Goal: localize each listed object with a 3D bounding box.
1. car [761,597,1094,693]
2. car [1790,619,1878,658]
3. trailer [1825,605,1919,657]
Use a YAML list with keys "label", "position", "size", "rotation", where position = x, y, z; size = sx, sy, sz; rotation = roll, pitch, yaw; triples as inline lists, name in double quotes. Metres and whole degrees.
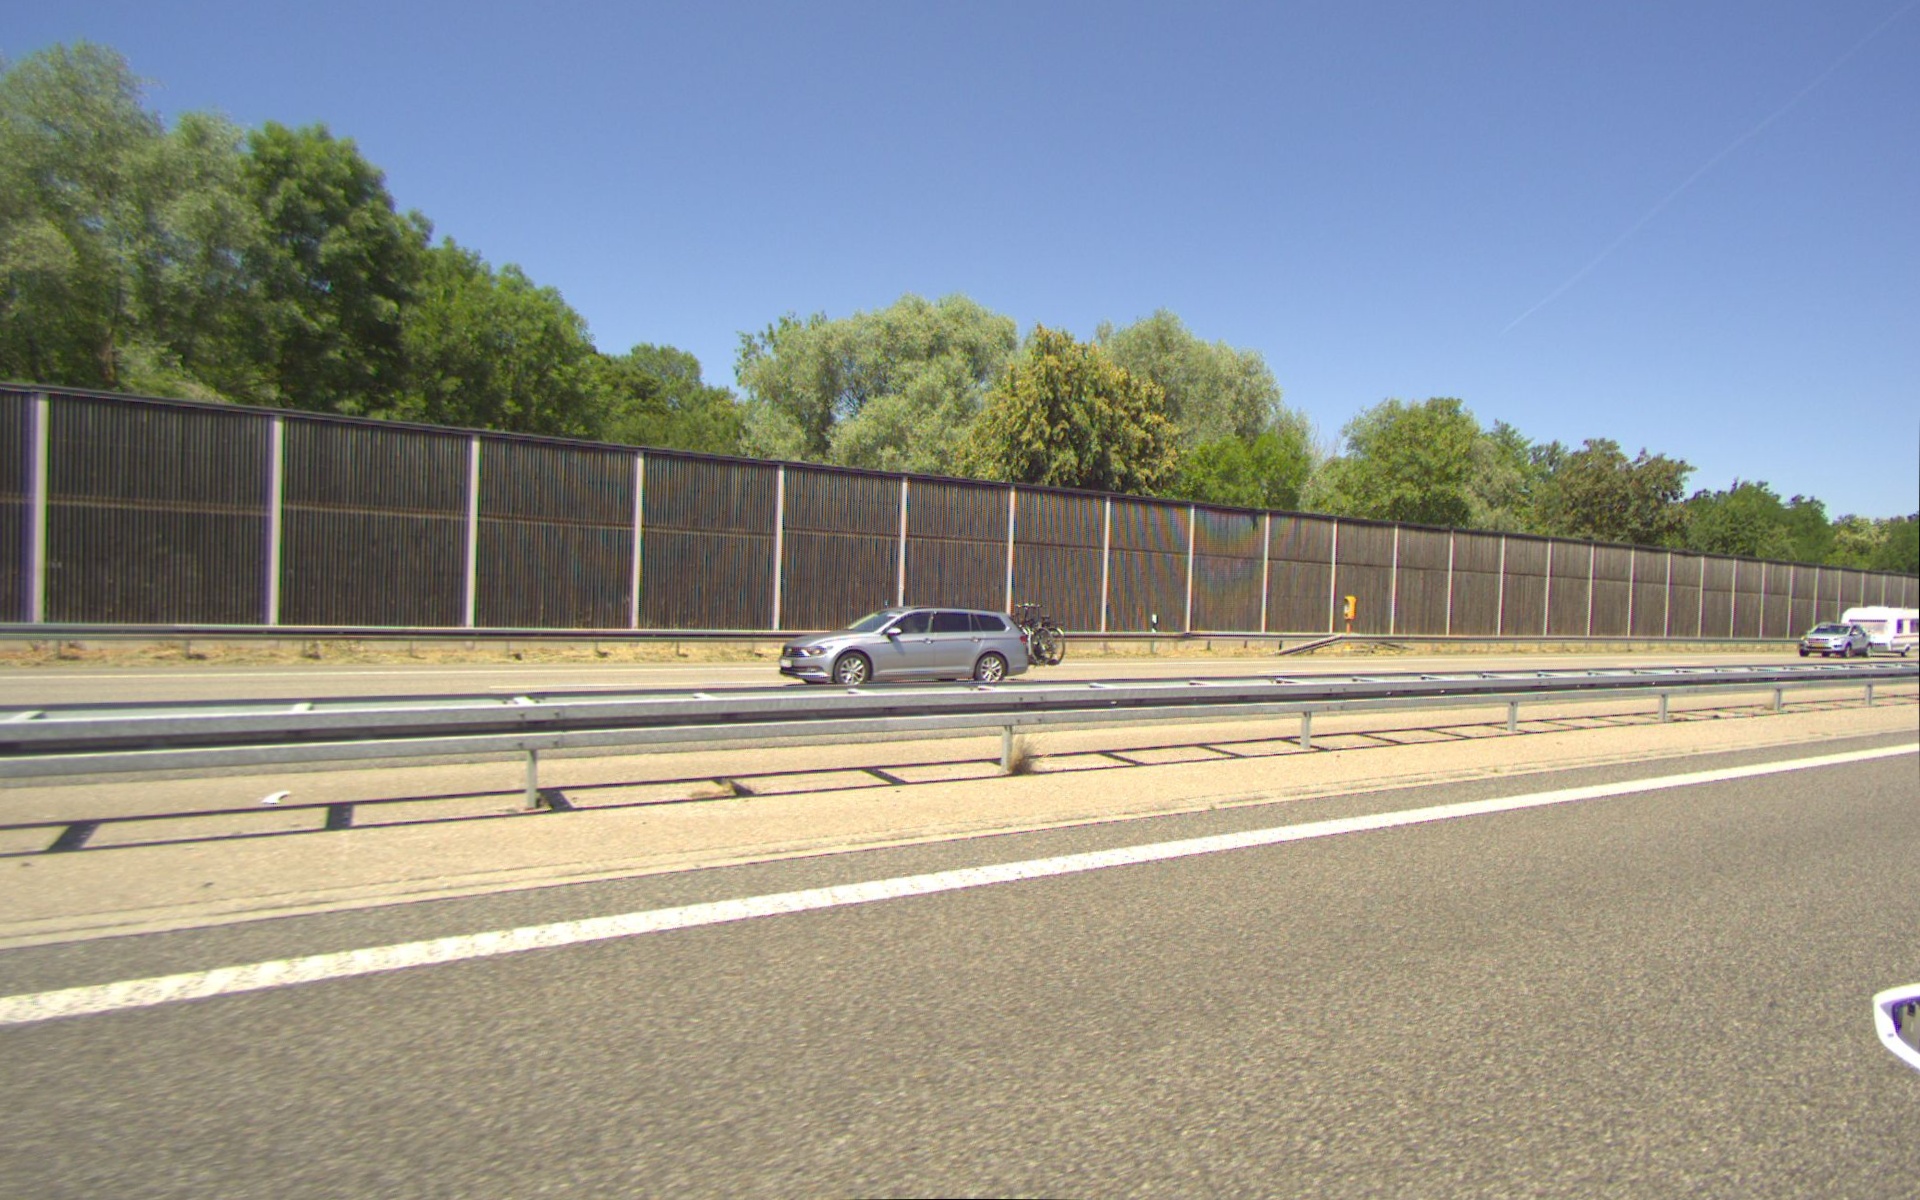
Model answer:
- label: "car"
  position: [-0.510, 0.790, 18.695]
  size: [5.911, 1.542, 2.114]
  rotation: [1, 0, -30]
- label: "car"
  position: [42.281, 1.842, 48.584]
  size: [4.851, 1.734, 1.889]
  rotation: [1, 0, -32]
- label: "trailer"
  position: [46.952, 1.560, 51.527]
  size: [6.198, 2.509, 2.119]
  rotation: [1, 0, -32]
